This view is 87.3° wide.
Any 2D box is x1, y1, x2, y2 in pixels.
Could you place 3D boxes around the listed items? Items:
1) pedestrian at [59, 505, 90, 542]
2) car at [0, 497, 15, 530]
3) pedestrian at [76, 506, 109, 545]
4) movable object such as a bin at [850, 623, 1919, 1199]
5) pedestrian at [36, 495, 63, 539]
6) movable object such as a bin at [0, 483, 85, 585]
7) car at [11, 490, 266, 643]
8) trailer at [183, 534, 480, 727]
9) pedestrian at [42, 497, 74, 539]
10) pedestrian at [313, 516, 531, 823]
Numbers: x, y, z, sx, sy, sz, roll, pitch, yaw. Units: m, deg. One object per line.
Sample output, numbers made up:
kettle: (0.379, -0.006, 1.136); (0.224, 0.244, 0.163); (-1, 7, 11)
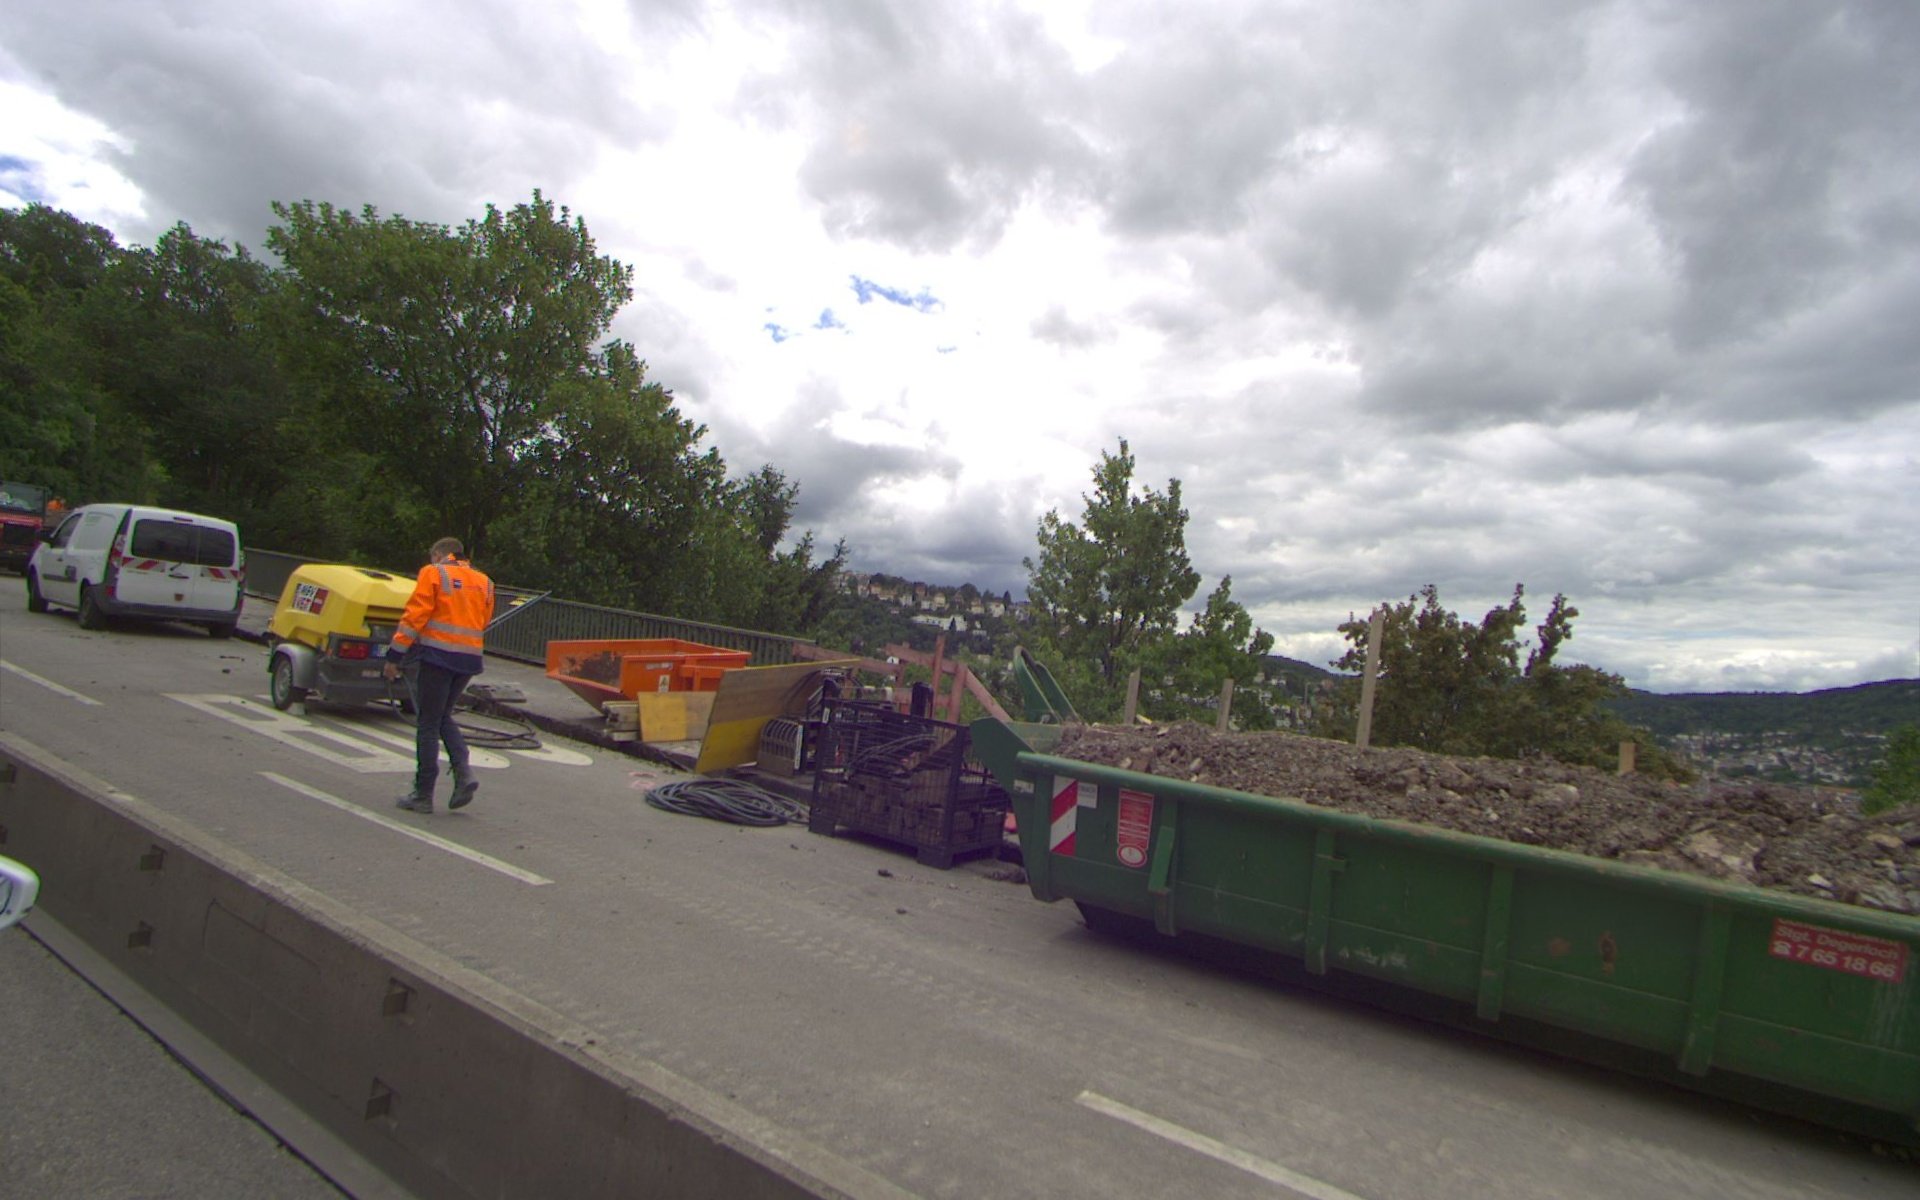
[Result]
pedestrian: (-41.719, -3.599, 47.397); (0.774, 1.627, 0.664); (7, 0, -21)
car: (-50.191, -4.555, 51.286); (1.794, 1.683, 3.973); (7, -1, -28)
pedestrian: (-40.727, -3.493, 47.231); (0.774, 1.708, 0.781); (7, 0, -20)
movable object such as a bin: (3.056, 1.383, 5.032); (6.978, 1.579, 2.380); (7, -2, 30)
pedestrian: (-42.245, -3.849, 46.657); (0.814, 1.929, 0.689); (7, 0, 41)
movable object such as a bin: (-21.486, -1.582, 22.785); (4.104, 1.965, 1.701); (7, -2, 39)
car: (-12.574, -0.550, 15.322); (4.202, 1.800, 1.834); (7, -2, 36)
trailer: (-6.537, 0.259, 10.324); (3.579, 1.492, 1.289); (6, -2, 38)
pedestrian: (-43.389, -3.942, 48.403); (0.871, 1.844, 0.870); (7, 0, -36)
pedestrian: (-3.329, 0.416, 6.241); (0.836, 1.720, 0.647); (7, -2, 31)
